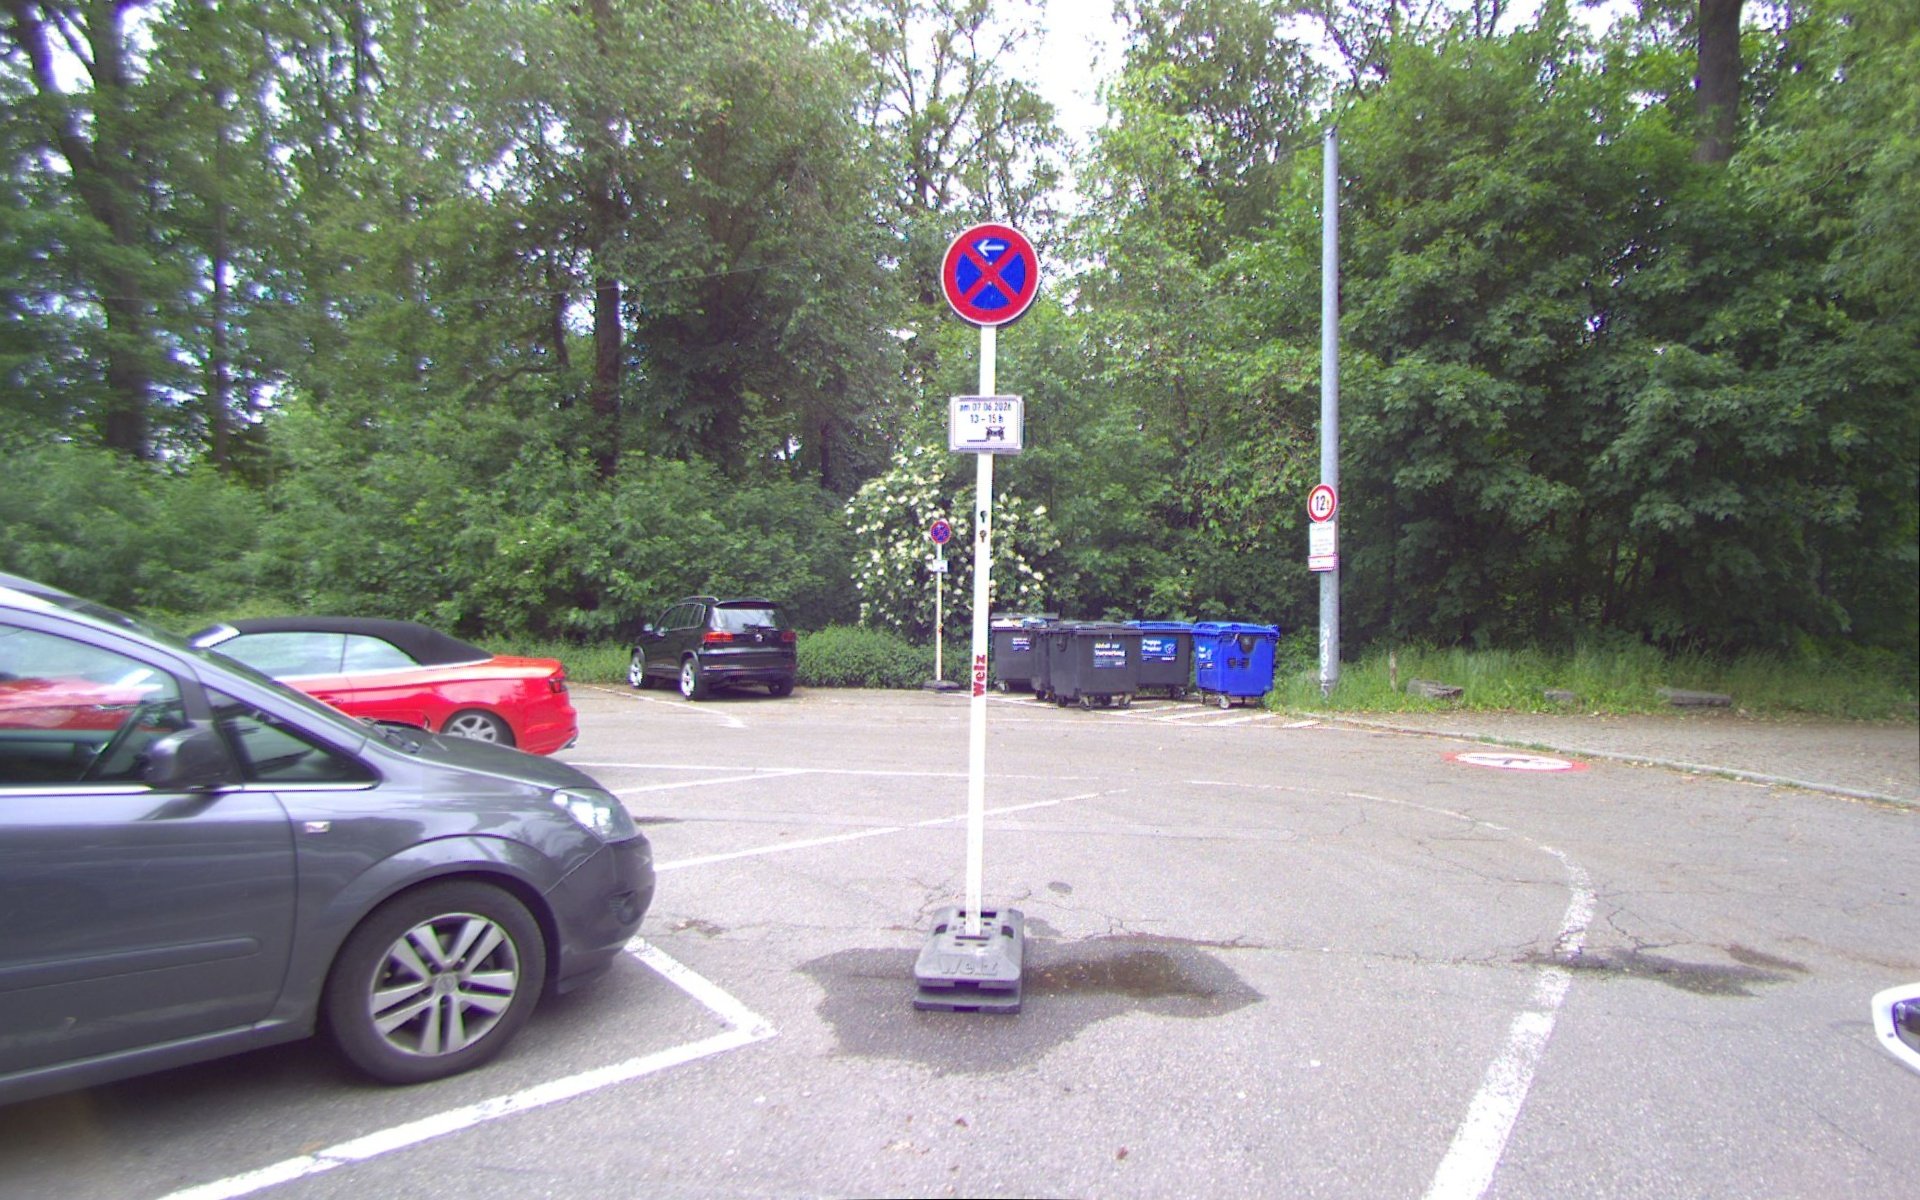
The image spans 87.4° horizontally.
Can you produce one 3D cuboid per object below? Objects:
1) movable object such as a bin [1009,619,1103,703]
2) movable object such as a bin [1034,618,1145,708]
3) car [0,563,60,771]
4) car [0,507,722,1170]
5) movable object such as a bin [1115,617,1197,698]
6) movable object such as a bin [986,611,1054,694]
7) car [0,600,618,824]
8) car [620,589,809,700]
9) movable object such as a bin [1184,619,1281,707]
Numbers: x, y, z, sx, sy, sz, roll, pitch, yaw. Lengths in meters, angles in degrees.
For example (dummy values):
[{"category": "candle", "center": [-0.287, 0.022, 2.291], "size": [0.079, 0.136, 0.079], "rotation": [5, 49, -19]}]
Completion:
[{"category": "movable object such as a bin", "center": [1.585, 0.997, 16.779], "size": [1.168, 1.332, 1.121], "rotation": [1, -1, -23]}, {"category": "movable object such as a bin", "center": [2.006, 0.959, 15.662], "size": [1.295, 1.324, 1.166], "rotation": [1, -1, -23]}, {"category": "car", "center": [-9.665, 0.511, 7.765], "size": [3.969, 1.685, 1.876], "rotation": [1, -1, -41]}, {"category": "car", "center": [-3.119, 0.582, 3.001], "size": [4.353, 1.630, 1.808], "rotation": [1, -1, -41]}, {"category": "movable object such as a bin", "center": [3.369, 0.976, 17.384], "size": [1.215, 1.337, 1.127], "rotation": [1, -1, 2]}, {"category": "movable object such as a bin", "center": [1.107, 0.934, 18.360], "size": [1.107, 1.444, 1.128], "rotation": [1, -1, 10]}, {"category": "car", "center": [-5.242, 0.751, 8.142], "size": [4.355, 1.412, 1.749], "rotation": [2, -1, -39]}, {"category": "car", "center": [-4.410, 0.700, 17.605], "size": [1.768, 1.707, 4.028], "rotation": [1, -1, -37]}, {"category": "movable object such as a bin", "center": [4.371, 0.988, 16.199], "size": [1.125, 1.342, 1.256], "rotation": [1, -1, -6]}]
